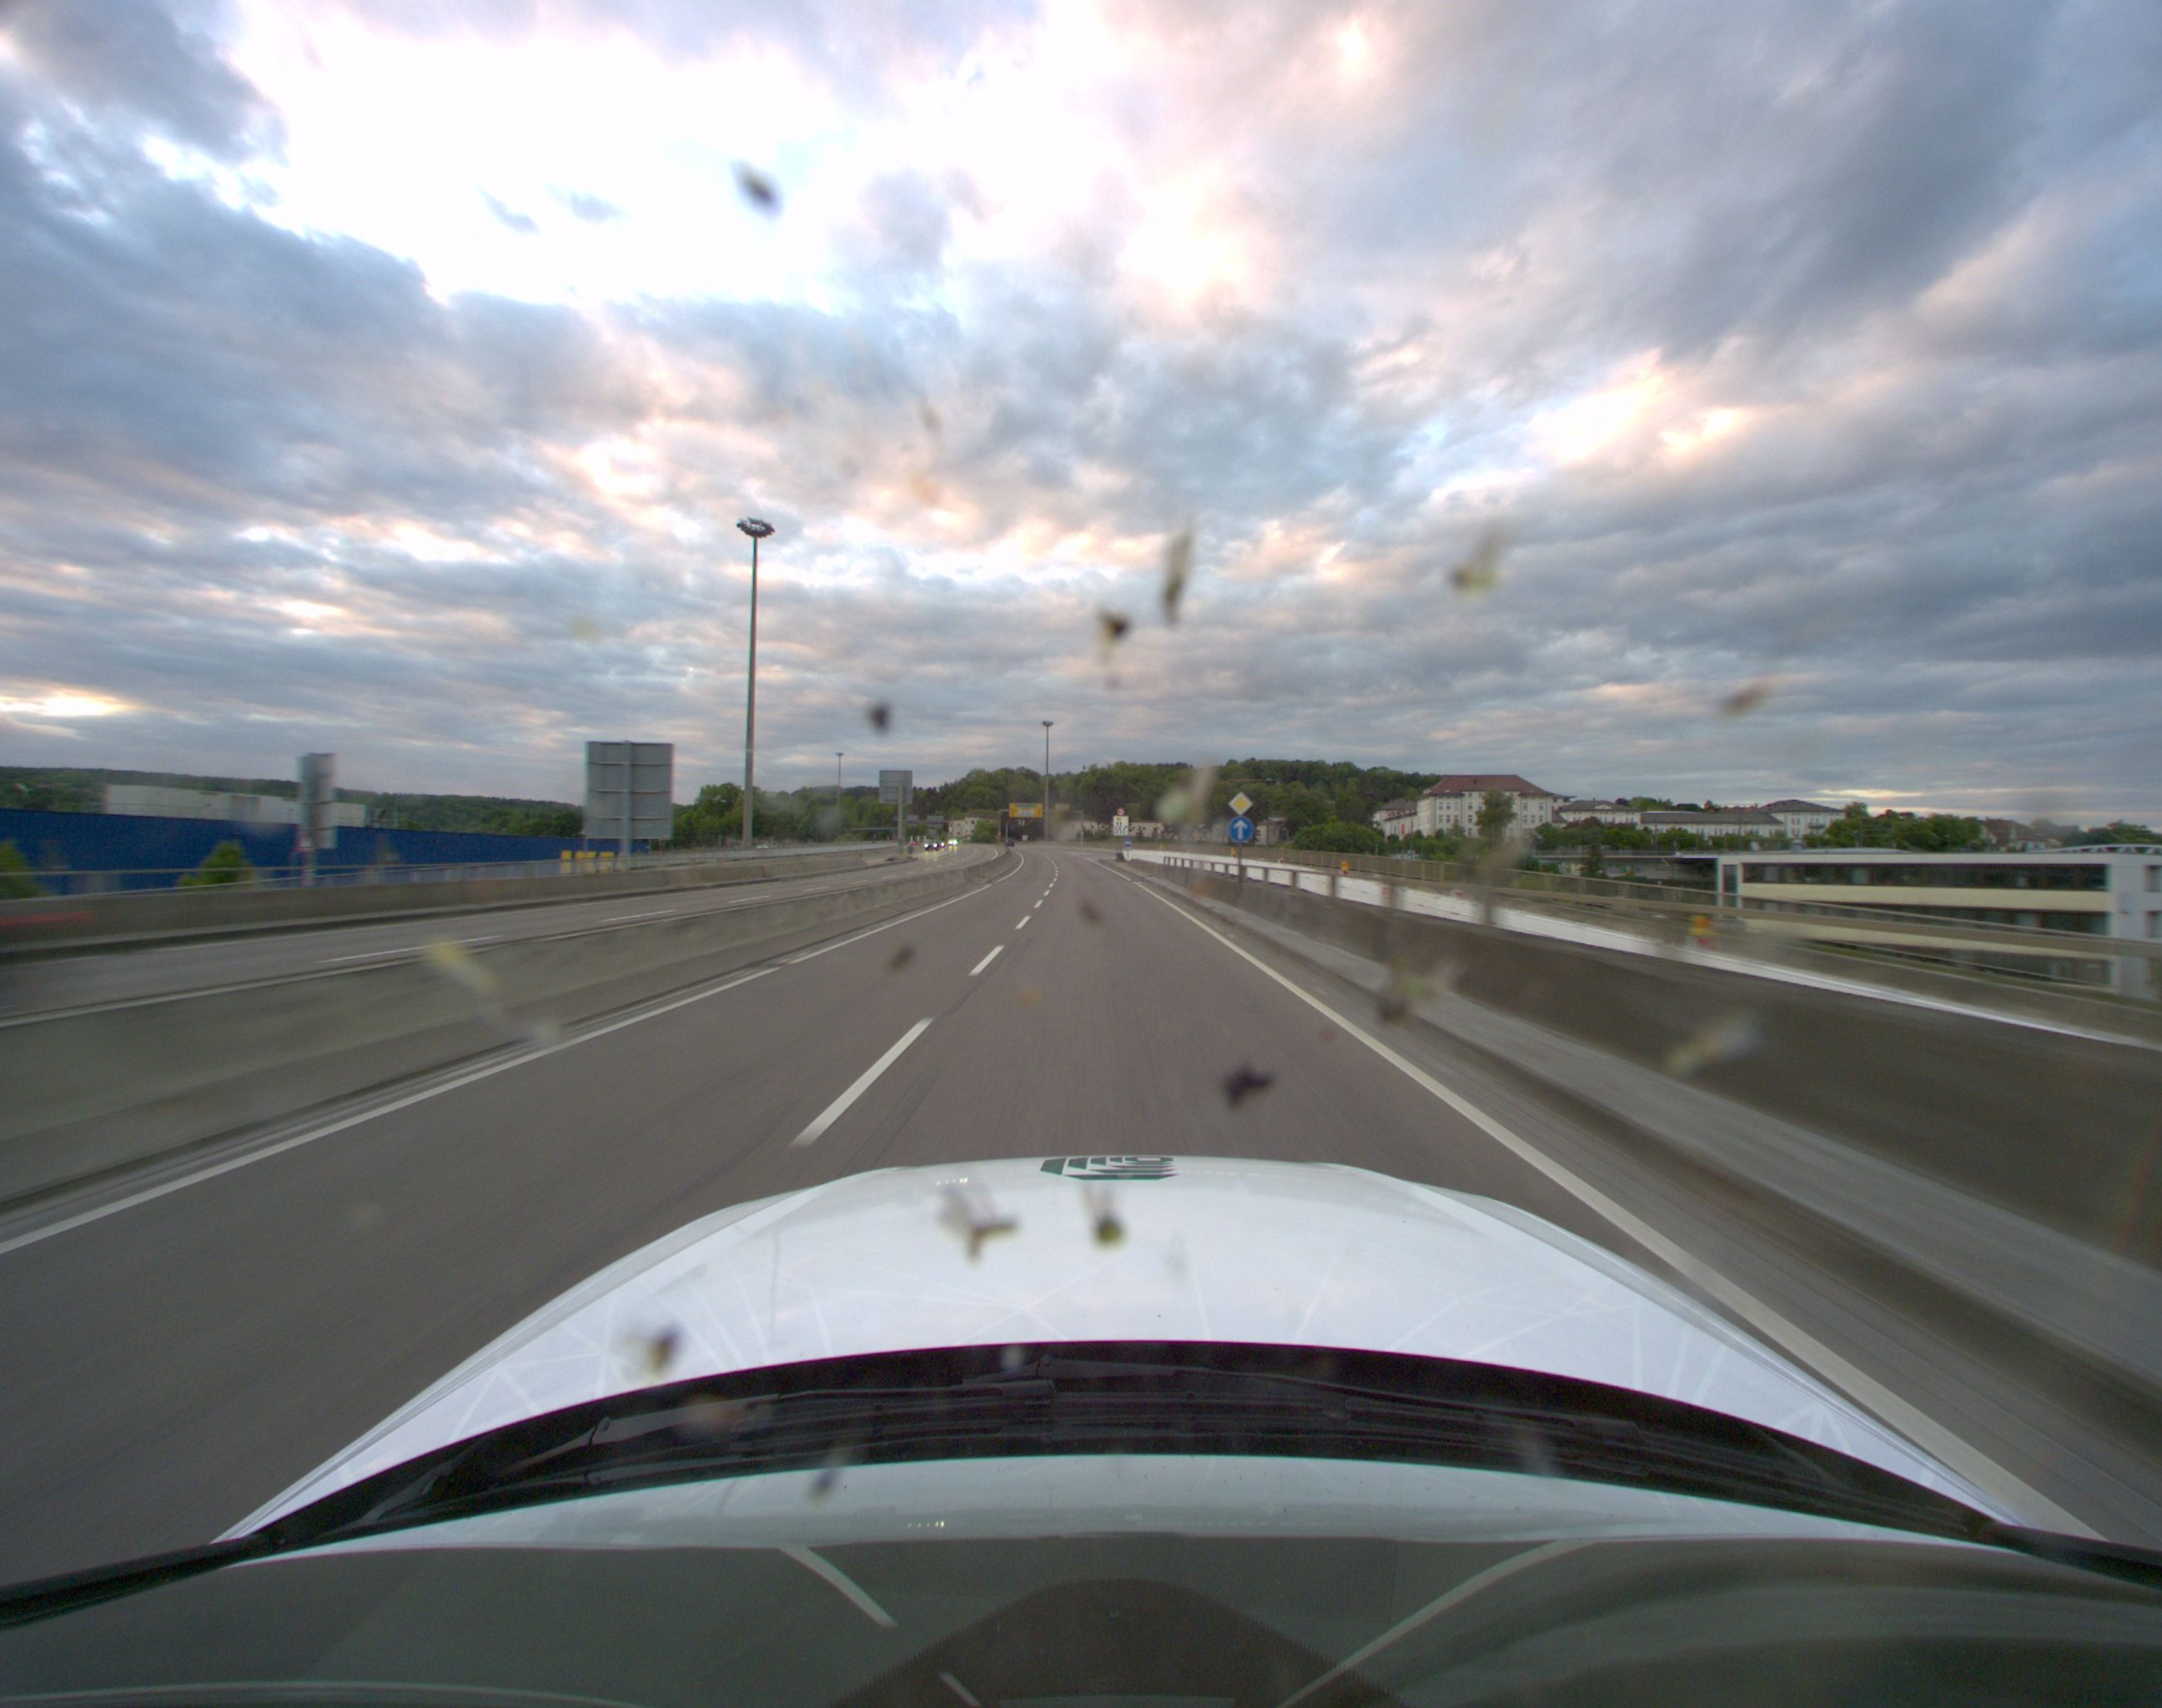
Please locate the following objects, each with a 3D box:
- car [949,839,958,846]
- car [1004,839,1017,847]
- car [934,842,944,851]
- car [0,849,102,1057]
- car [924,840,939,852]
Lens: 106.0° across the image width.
[{"bbox_3d":[-28.889,-2.636,183.925,1.712,1.494,4.062,2,-1,-13],"label":"car"},{"bbox_3d":[-15.870,-2.563,183.574,2.308,1.763,4.241,1,1,-15],"label":"car"},{"bbox_3d":[-26.142,-1.378,149.913,1.797,1.486,3.827,0,0,-11],"label":"car"},{"bbox_3d":[-8.595,0.698,4.235,1.824,1.480,4.285,0,0,-1],"label":"car"},{"bbox_3d":[-23.149,-1.306,126.239,1.632,1.717,3.997,-5,1,-2],"label":"car"}]
